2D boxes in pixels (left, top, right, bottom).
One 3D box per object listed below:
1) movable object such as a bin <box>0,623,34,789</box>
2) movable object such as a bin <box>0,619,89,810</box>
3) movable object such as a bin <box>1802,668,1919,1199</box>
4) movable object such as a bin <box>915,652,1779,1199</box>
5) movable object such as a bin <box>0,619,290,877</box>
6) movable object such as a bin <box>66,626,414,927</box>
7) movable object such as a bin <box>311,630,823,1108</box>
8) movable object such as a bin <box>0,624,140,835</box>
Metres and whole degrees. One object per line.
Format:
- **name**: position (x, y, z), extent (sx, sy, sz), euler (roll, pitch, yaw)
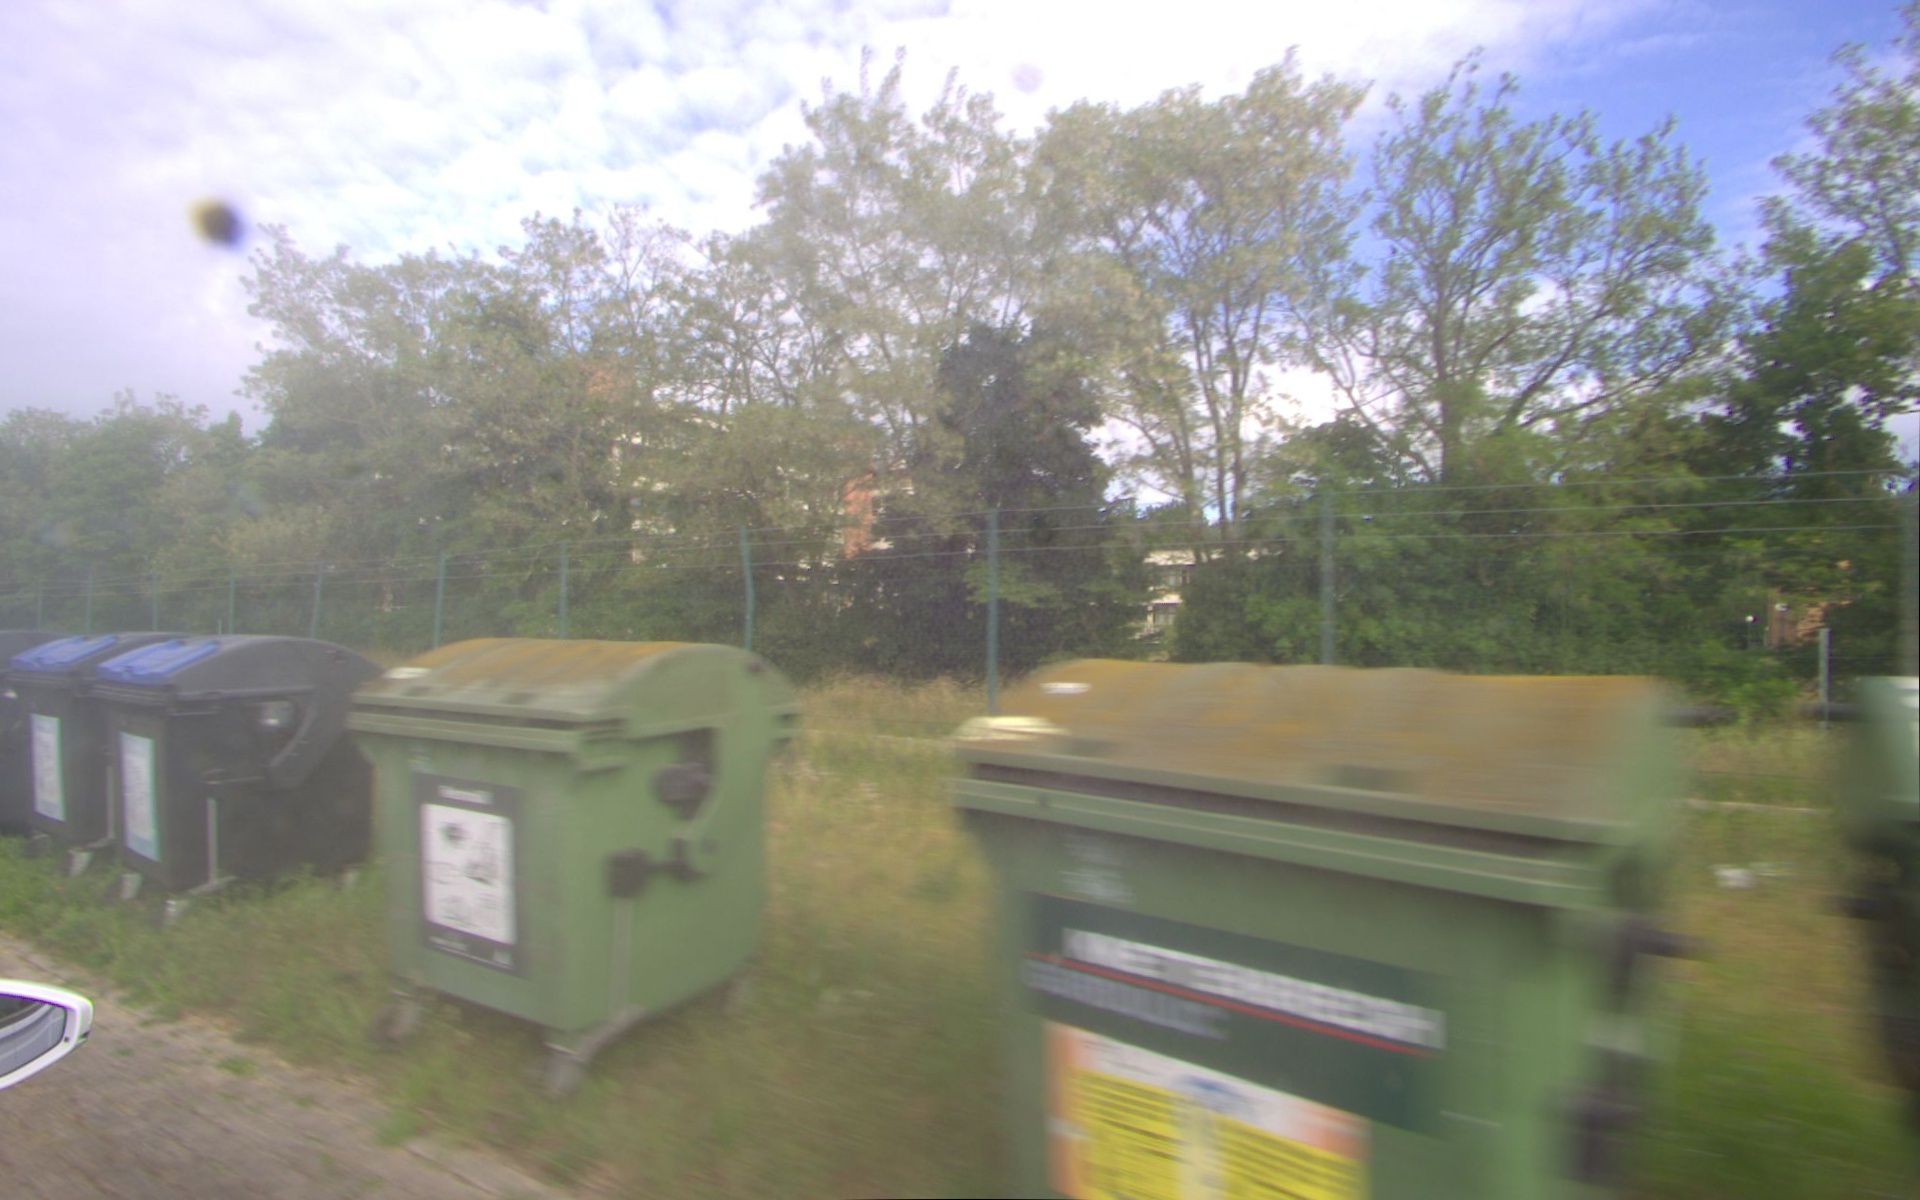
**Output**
- **movable object such as a bin**: position (-8.705, 0.878, 8.419), extent (1.408, 1.367, 1.119), euler (-1, -3, 38)
- **movable object such as a bin**: position (-7.573, 0.846, 7.670), extent (1.309, 1.396, 1.119), euler (-1, -3, 38)
- **movable object such as a bin**: position (2.249, 0.838, 1.528), extent (1.367, 1.423, 1.066), euler (-1, -2, 35)
- **movable object such as a bin**: position (0.780, 0.824, 2.092), extent (1.370, 1.416, 1.117), euler (-2, -3, 43)
- **movable object such as a bin**: position (-5.151, 0.836, 6.324), extent (1.475, 1.391, 1.119), euler (-1, -3, 38)
- **movable object such as a bin**: position (-3.887, 0.829, 5.406), extent (1.475, 1.342, 1.150), euler (-1, -3, 38)
- **movable object such as a bin**: position (-1.380, 0.774, 3.605), extent (1.360, 1.312, 1.121), euler (-1, -2, 32)
- **movable object such as a bin**: position (-6.541, 0.839, 6.901), extent (1.309, 1.338, 1.119), euler (0, -1, 38)
